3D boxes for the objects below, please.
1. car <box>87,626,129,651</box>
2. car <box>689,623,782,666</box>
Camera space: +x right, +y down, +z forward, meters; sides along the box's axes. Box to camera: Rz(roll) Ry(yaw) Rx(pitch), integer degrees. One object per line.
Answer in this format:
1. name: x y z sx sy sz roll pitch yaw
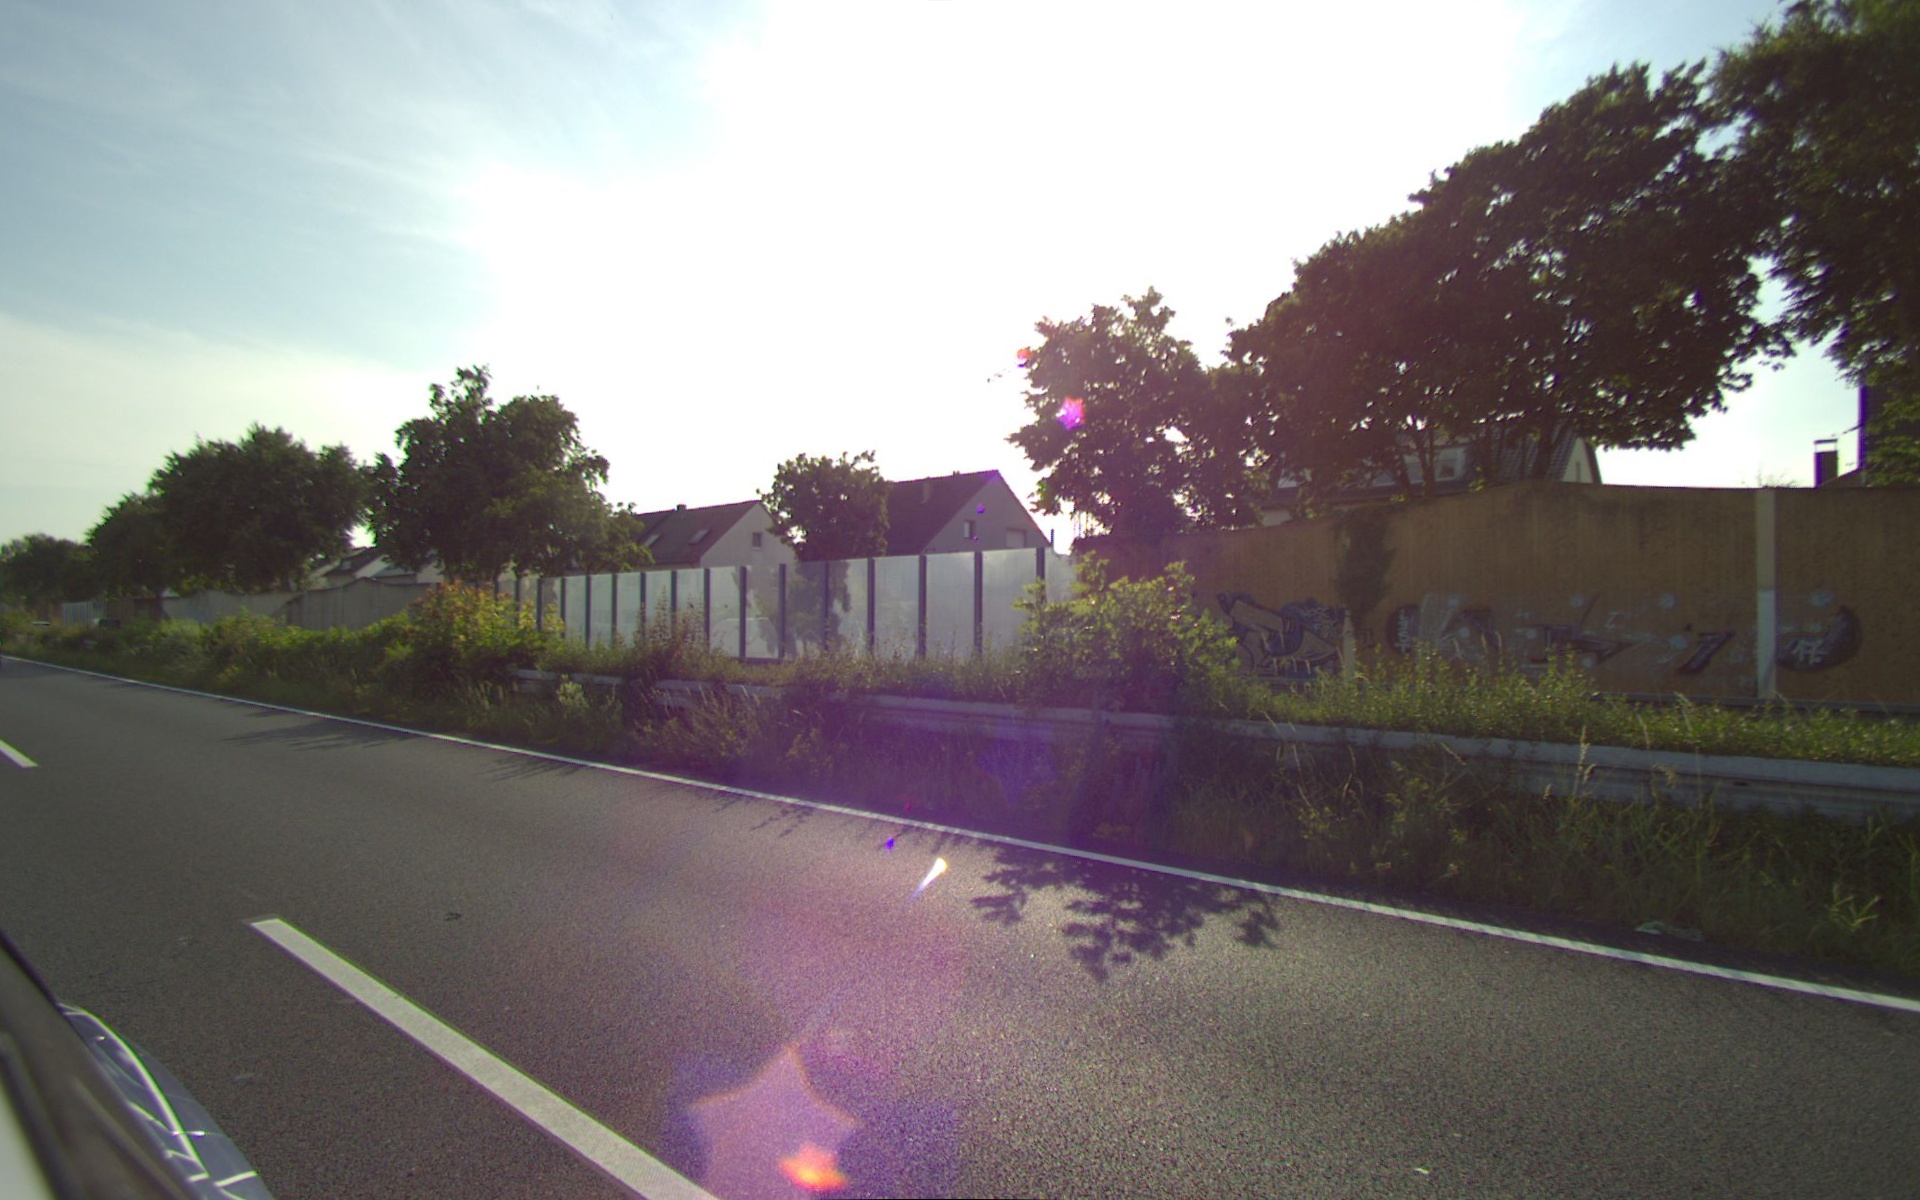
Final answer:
1. car: -64.281 2.877 76.331 4.298 1.808 1.818 -1 0 41
2. car: -10.804 2.083 48.508 4.912 1.933 1.767 -1 0 41
